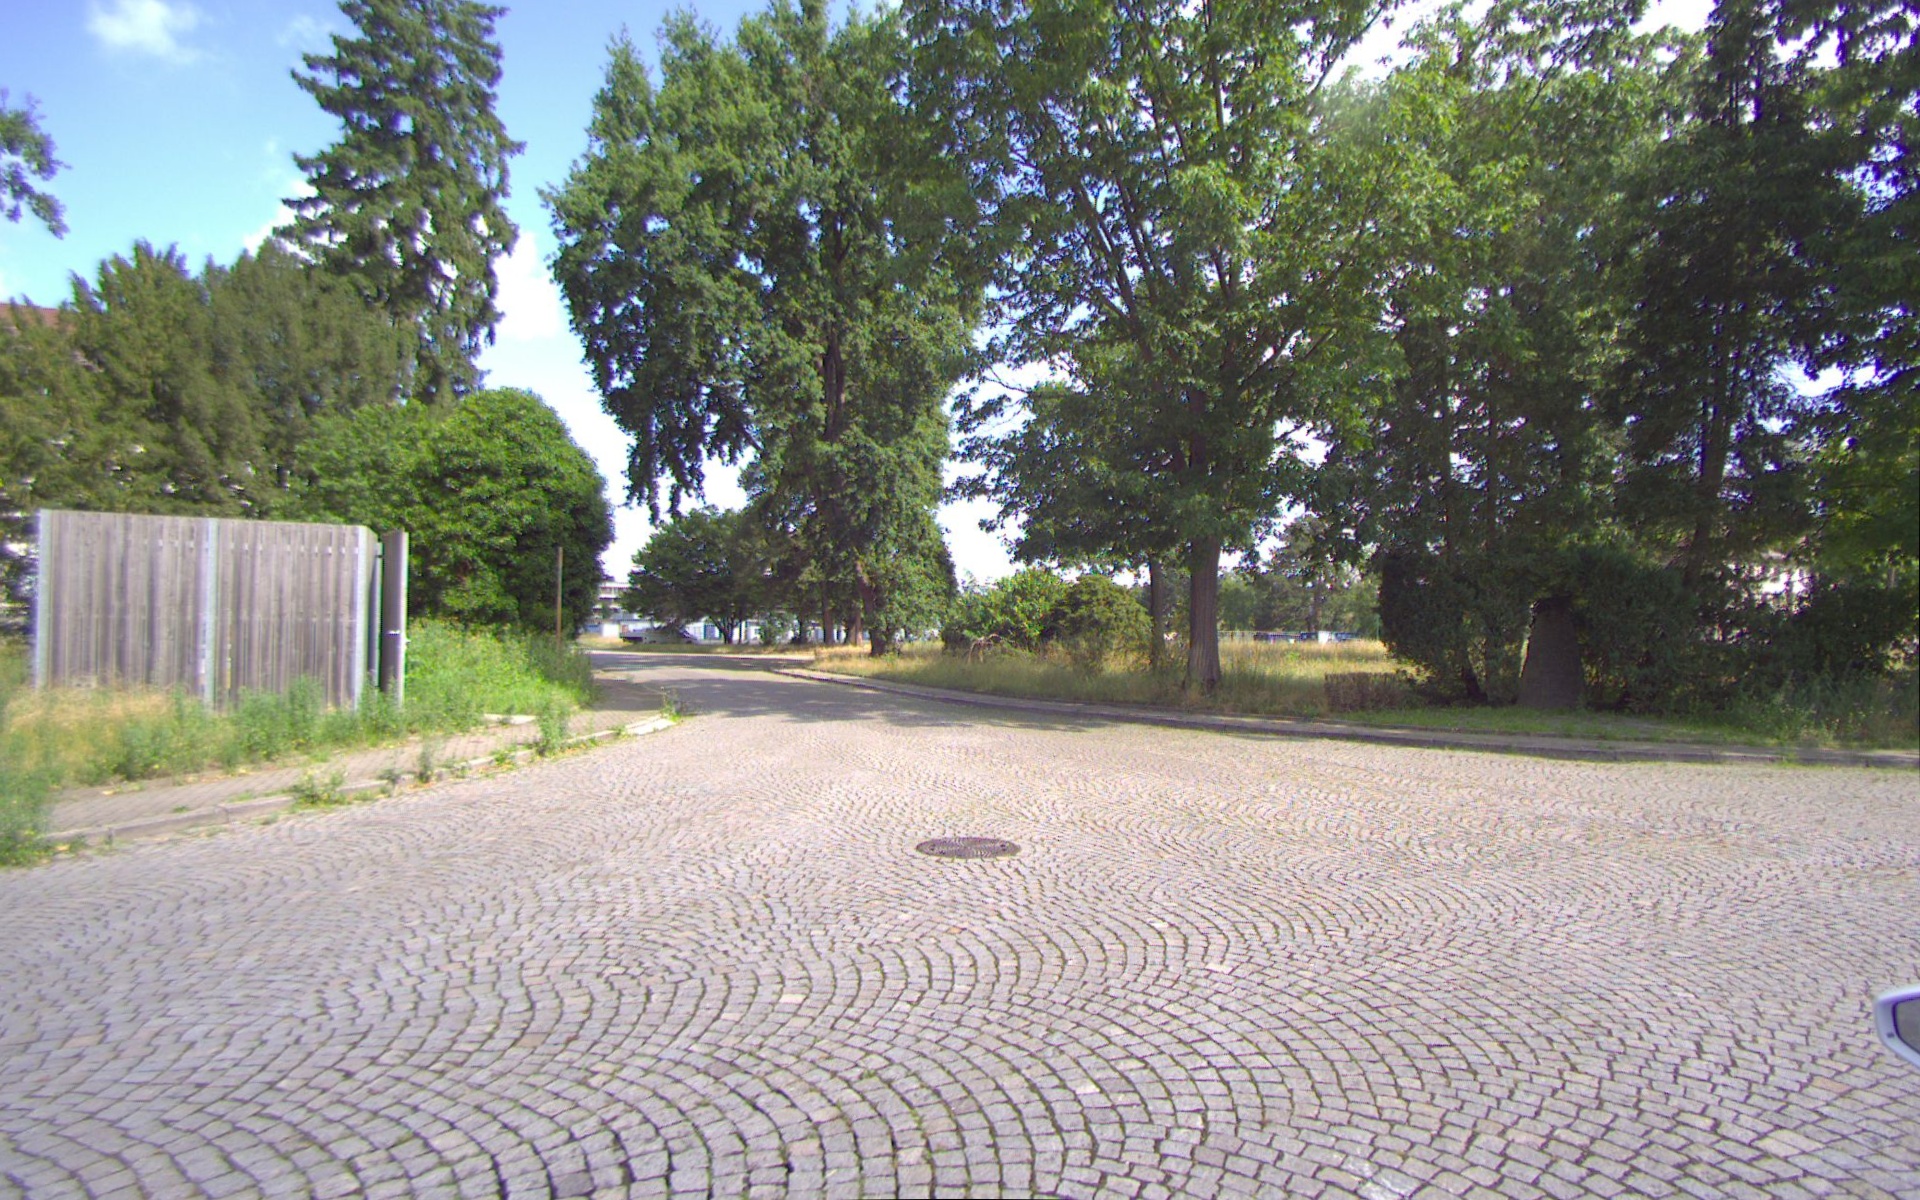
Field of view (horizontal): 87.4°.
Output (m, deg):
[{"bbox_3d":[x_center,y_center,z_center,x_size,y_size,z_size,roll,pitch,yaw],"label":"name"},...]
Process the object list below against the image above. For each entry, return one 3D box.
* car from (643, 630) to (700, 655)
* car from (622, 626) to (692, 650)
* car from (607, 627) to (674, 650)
[{"bbox_3d":[-24.957,3.662,86.880,4.576,2.018,1.990,2,-1,-21],"label":"car"},{"bbox_3d":[-27.540,3.465,91.304,5.914,2.018,1.990,2,-1,-21],"label":"car"},{"bbox_3d":[-30.234,3.641,95.006,5.914,2.018,1.990,2,-1,-21],"label":"car"}]
